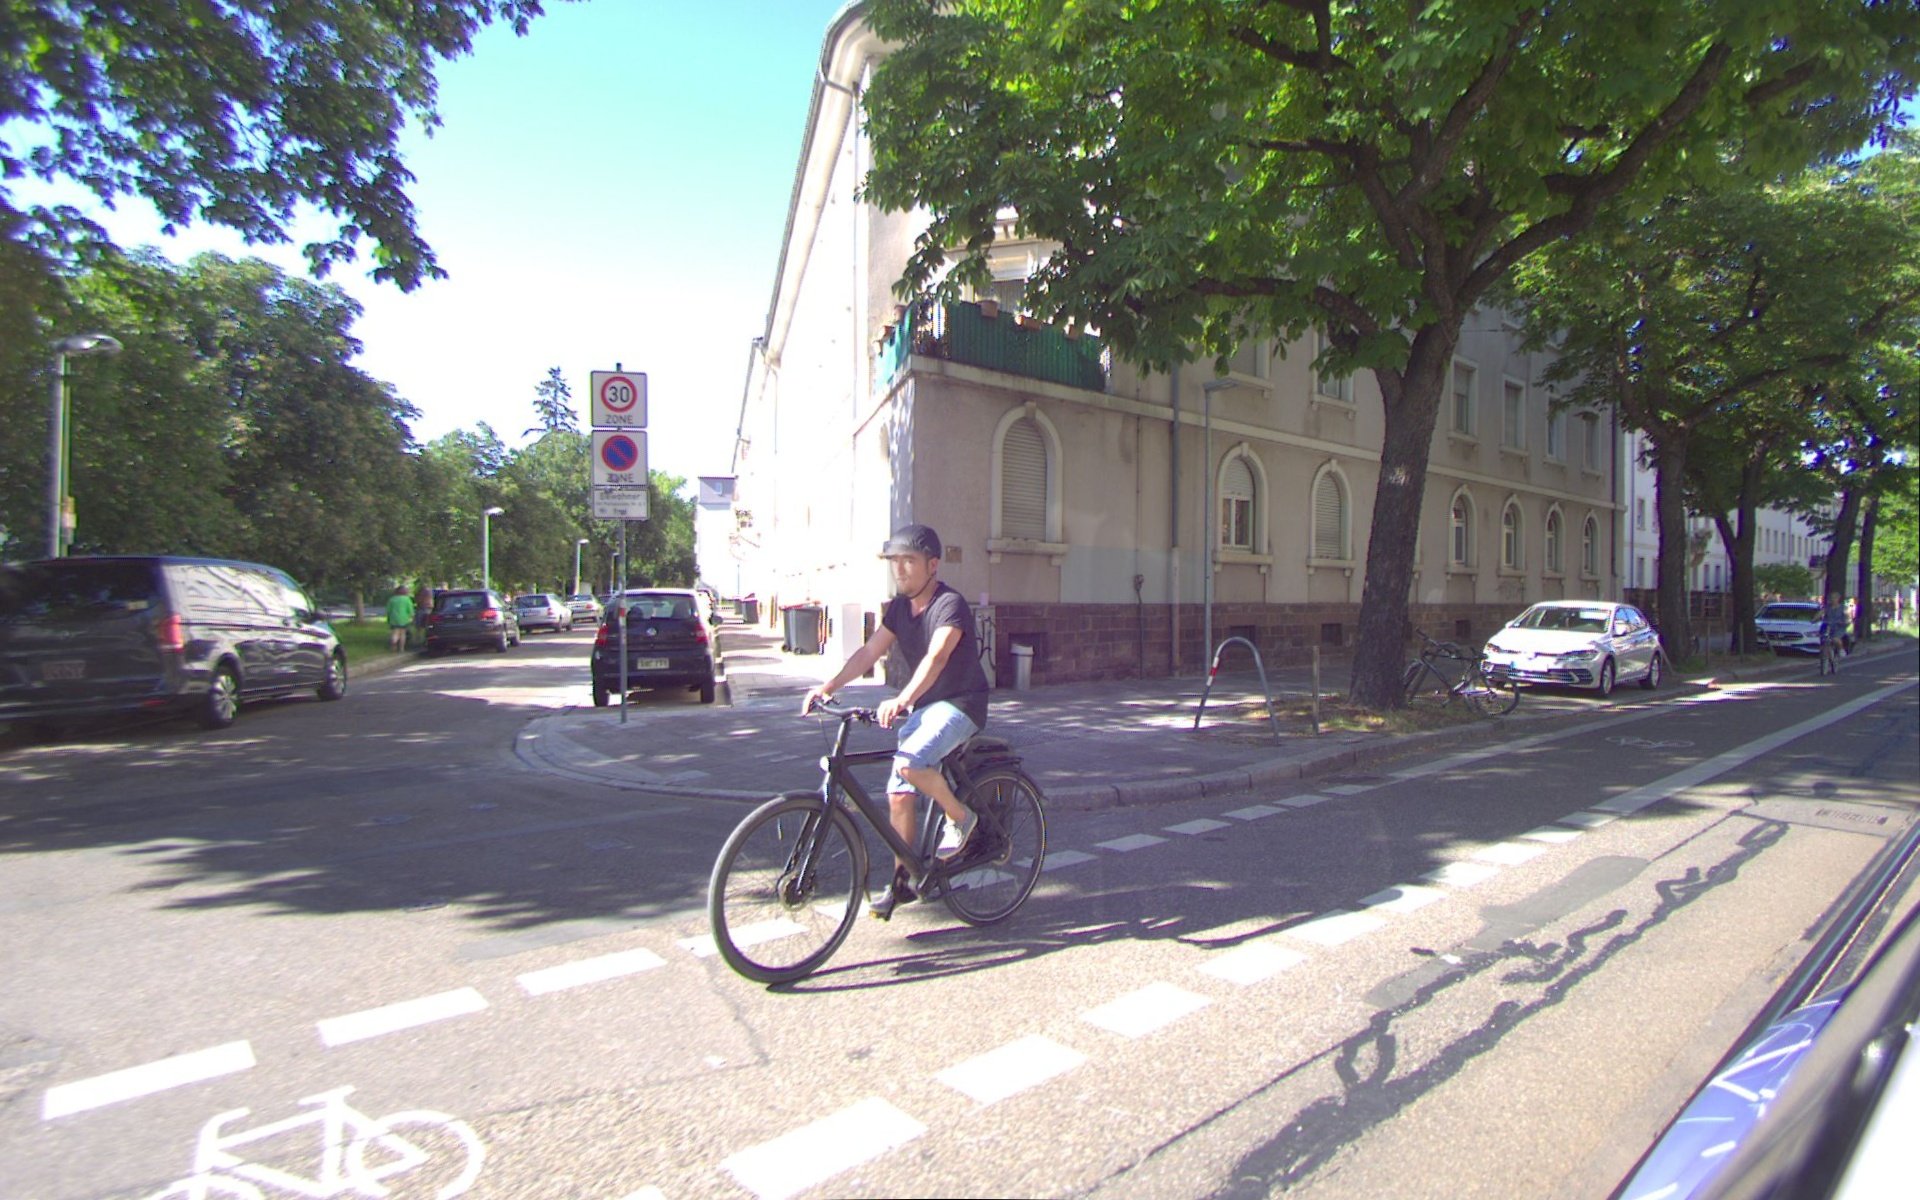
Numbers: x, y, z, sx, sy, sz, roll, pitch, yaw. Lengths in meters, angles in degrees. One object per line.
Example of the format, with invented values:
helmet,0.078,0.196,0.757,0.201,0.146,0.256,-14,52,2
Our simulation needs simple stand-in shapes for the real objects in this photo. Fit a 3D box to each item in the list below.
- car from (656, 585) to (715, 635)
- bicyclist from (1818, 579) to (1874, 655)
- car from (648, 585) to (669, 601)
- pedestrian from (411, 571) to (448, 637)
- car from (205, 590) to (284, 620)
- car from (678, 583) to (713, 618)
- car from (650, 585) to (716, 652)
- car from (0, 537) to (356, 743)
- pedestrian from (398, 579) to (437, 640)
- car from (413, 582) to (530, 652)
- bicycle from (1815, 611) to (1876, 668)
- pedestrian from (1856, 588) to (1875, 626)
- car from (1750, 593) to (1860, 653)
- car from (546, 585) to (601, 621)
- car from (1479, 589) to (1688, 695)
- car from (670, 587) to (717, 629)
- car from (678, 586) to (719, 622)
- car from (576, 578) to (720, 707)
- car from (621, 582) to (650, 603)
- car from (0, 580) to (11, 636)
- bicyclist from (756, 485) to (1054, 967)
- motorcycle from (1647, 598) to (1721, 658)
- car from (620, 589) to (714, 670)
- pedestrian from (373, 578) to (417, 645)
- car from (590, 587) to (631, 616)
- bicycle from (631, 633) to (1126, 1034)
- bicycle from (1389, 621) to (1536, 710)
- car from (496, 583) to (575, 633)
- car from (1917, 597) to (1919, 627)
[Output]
car,-8.554,0.276,31.774,1.605,1.434,3.970,-1,1,-13
bicyclist,18.441,0.346,21.064,1.209,1.533,0.775,0,0,-43
car,-31.943,-0.773,107.391,1.958,1.651,5.077,-2,1,-14
pedestrian,-15.027,0.105,28.663,0.826,1.865,0.575,0,0,-17
car,-34.013,0.219,48.235,1.770,1.236,3.878,3,0,-15
car,-13.445,-0.008,51.606,1.605,1.694,3.865,-1,1,-13
car,-6.838,0.410,25.178,1.408,1.519,3.509,-1,1,-13
car,-9.189,0.349,12.115,1.958,1.914,5.077,-2,1,-14
pedestrian,-14.454,0.249,26.970,0.826,1.588,0.575,0,0,-17
car,-12.769,0.374,26.750,1.895,1.629,4.629,-2,1,-14
bicycle,18.453,0.802,21.079,2.024,1.100,0.775,0,0,-44
pedestrian,49.264,0.374,55.080,0.740,2.039,0.678,1,0,41
car,23.786,0.590,28.424,4.670,1.502,1.821,0,2,-44
car,-18.921,0.110,49.753,1.958,1.651,5.077,-2,1,-14
car,10.236,0.593,16.510,4.139,1.490,1.705,0,2,-41
car,-10.168,0.263,38.806,1.605,1.519,3.776,-1,1,-13
car,-11.434,0.144,44.384,1.605,1.519,3.644,-1,1,-13
car,-4.396,0.515,14.697,1.687,1.557,3.447,-3,1,-13
car,-26.663,-0.610,83.247,1.958,1.651,5.077,-2,1,-14
car,-29.325,0.229,28.756,1.749,1.674,3.878,3,0,-15
bicyclist,-0.230,0.460,4.338,1.028,1.761,0.762,0,-1,-41
motorcycle,16.251,0.601,22.695,2.221,1.266,0.763,0,1,-39
car,-5.631,0.501,19.732,1.539,1.415,3.366,-1,1,-13
pedestrian,-13.717,0.267,24.593,0.826,1.588,0.575,0,0,-17
car,-21.575,0.061,62.641,1.958,1.651,5.077,-2,1,-14
bicycle,-0.255,0.800,4.308,2.059,1.258,0.762,0,-1,-41
bicycle,6.406,0.806,12.953,1.564,0.992,0.631,2,1,41
car,-15.759,0.249,37.797,1.958,1.651,5.077,-2,1,-14
car,49.347,0.612,50.692,4.537,1.485,1.759,0,2,-44
